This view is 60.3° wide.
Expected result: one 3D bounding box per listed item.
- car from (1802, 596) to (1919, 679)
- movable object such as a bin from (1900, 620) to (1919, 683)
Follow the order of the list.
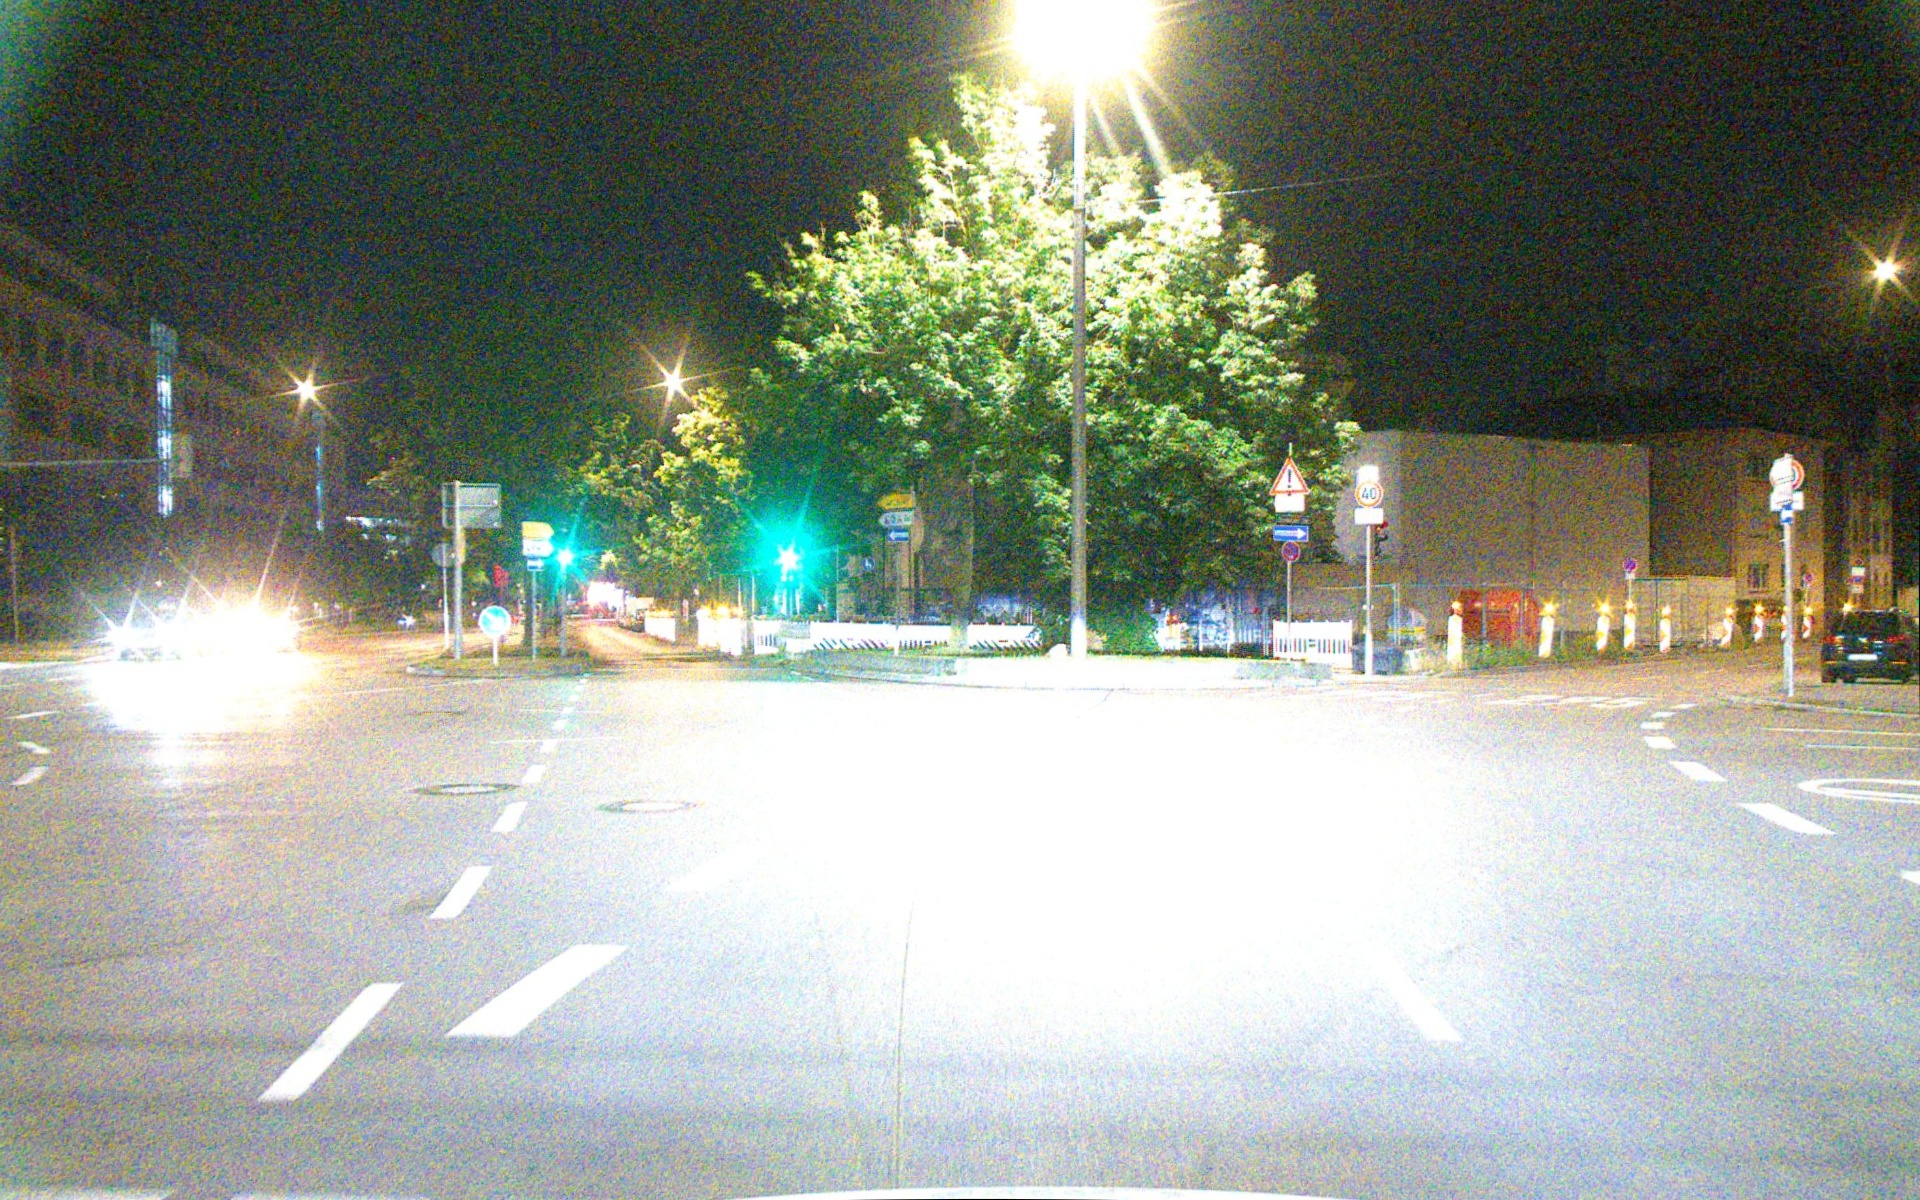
[{"bbox_3d":[19.921,0.824,36.482,1.715,1.712,4.241,-2,-2,36],"label":"car"},{"bbox_3d":[22.853,1.209,39.160,0.921,1.457,1.334,-2,-2,34],"label":"movable object such as a bin"}]
